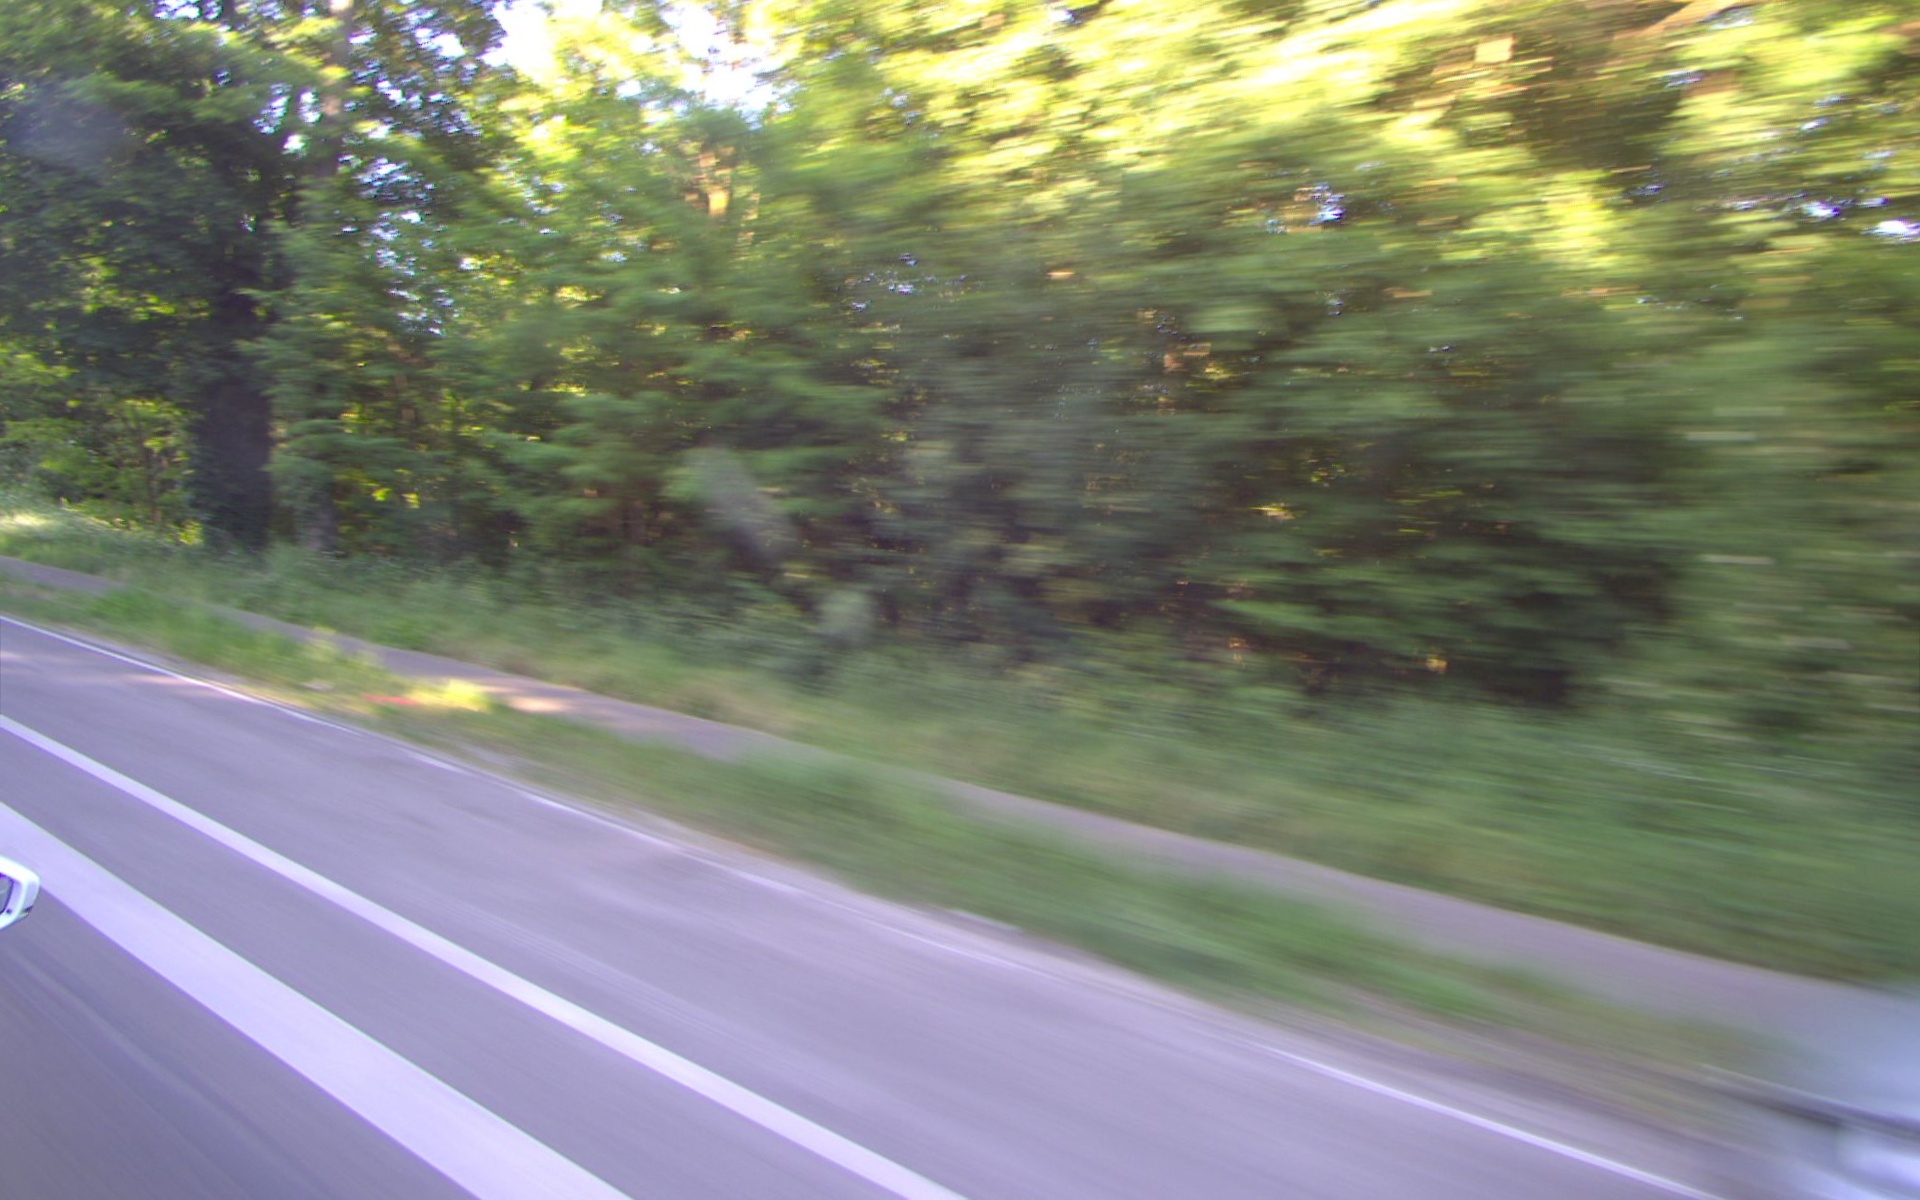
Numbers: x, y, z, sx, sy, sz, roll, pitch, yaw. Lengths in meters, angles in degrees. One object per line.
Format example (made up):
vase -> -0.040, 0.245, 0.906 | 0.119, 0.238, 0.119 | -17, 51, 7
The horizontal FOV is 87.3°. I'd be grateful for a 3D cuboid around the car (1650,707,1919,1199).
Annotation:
car -> 3.705, 1.251, 1.663 | 3.932, 1.533, 1.751 | 7, -1, 30
